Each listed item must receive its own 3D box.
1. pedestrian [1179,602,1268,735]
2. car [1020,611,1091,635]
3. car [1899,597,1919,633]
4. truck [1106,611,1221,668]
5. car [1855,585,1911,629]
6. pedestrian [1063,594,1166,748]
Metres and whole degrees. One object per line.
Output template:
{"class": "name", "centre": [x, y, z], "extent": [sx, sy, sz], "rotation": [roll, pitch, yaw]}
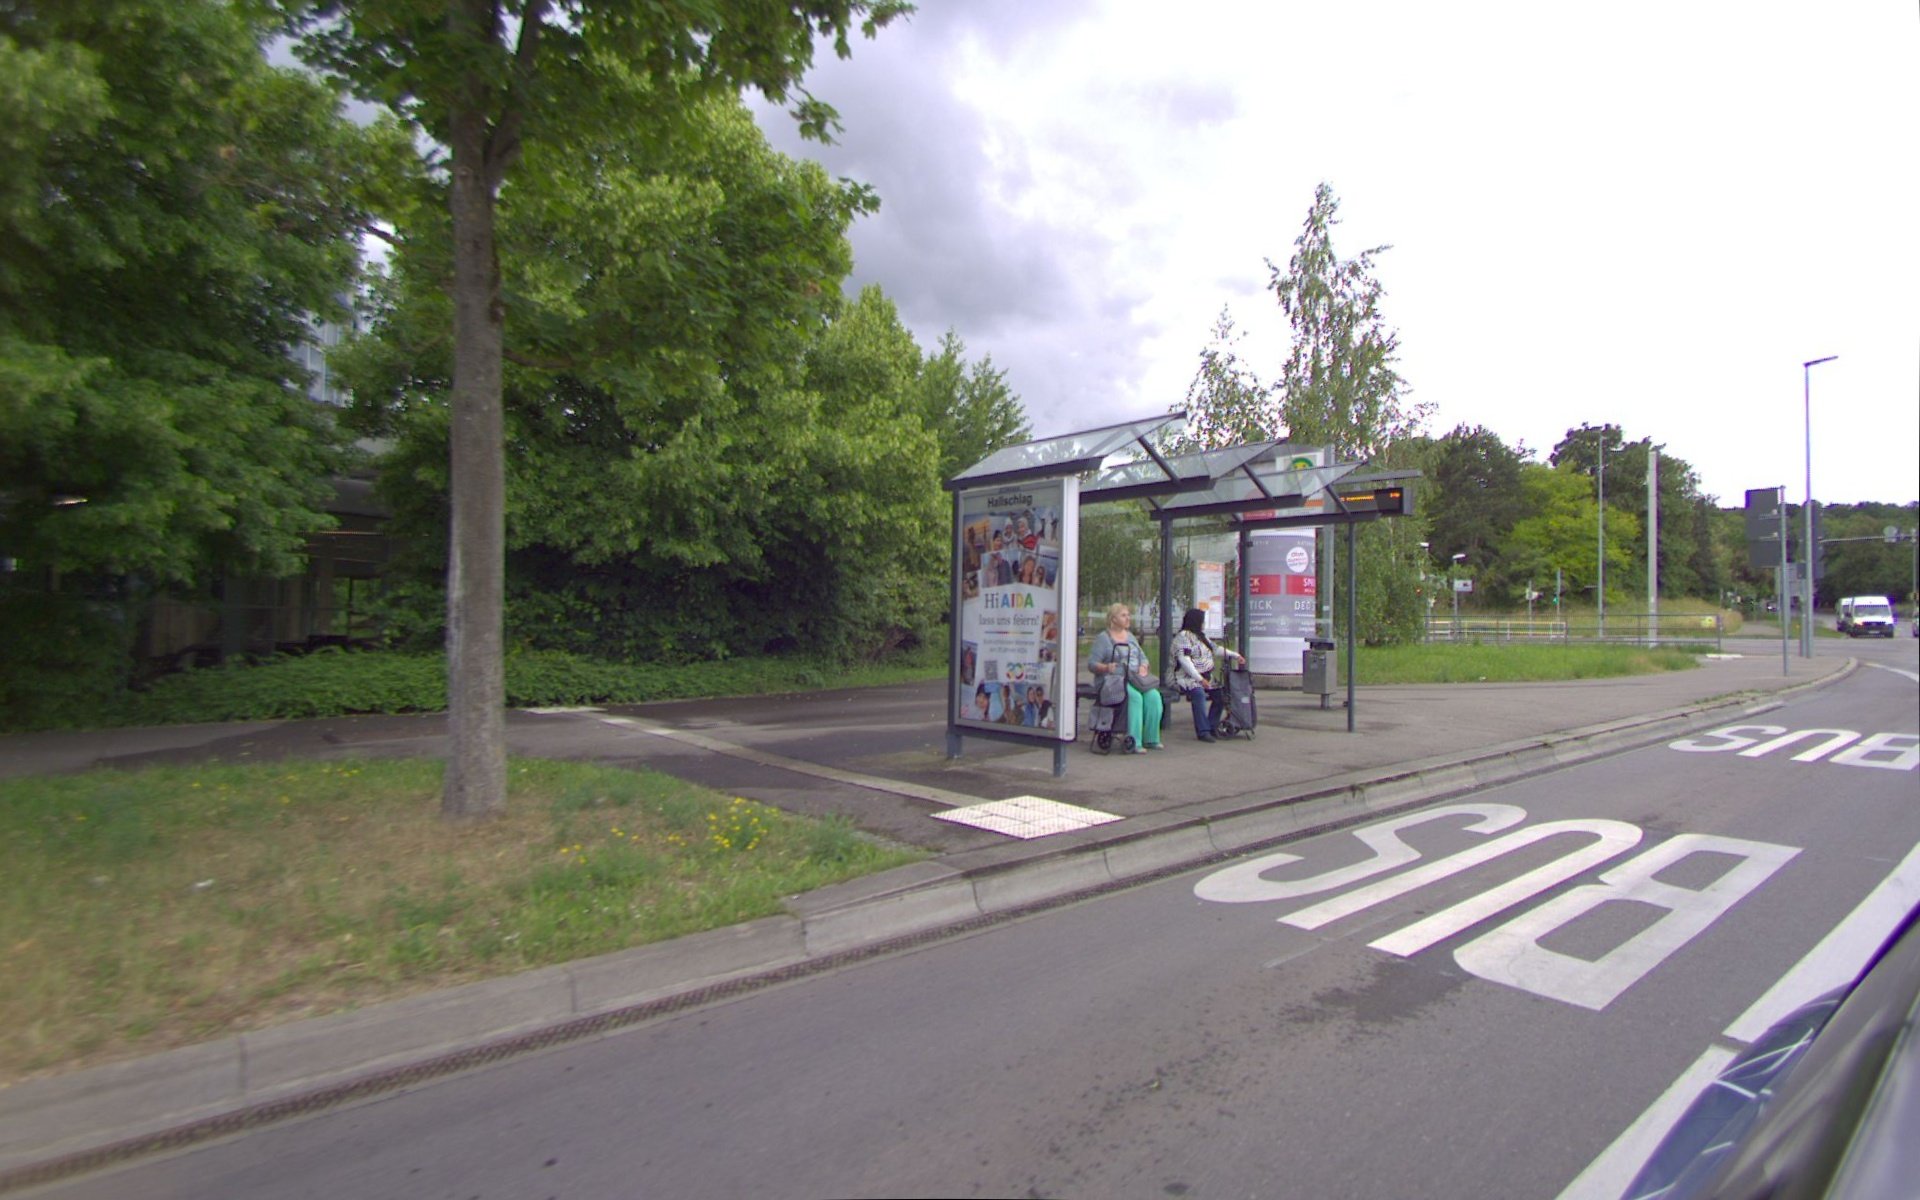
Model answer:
{"class": "pedestrian", "centre": [2.622, 0.663, 10.151], "extent": [0.763, 1.269, 0.770], "rotation": [-1, -1, 9]}
{"class": "car", "centre": [5.871, 1.394, 62.216], "extent": [3.954, 1.416, 1.985], "rotation": [-1, -1, 23]}
{"class": "car", "centre": [66.512, 1.000, 69.769], "extent": [2.218, 2.417, 5.872], "rotation": [-3, -2, 40]}
{"class": "truck", "centre": [11.804, 2.255, 58.776], "extent": [6.210, 3.047, 2.093], "rotation": [-1, 2, 26]}
{"class": "car", "centre": [59.268, 0.457, 65.058], "extent": [2.217, 2.693, 5.875], "rotation": [-3, -2, 39]}
{"class": "pedestrian", "centre": [1.402, 0.620, 9.248], "extent": [0.578, 1.333, 0.730], "rotation": [1, -2, -37]}
